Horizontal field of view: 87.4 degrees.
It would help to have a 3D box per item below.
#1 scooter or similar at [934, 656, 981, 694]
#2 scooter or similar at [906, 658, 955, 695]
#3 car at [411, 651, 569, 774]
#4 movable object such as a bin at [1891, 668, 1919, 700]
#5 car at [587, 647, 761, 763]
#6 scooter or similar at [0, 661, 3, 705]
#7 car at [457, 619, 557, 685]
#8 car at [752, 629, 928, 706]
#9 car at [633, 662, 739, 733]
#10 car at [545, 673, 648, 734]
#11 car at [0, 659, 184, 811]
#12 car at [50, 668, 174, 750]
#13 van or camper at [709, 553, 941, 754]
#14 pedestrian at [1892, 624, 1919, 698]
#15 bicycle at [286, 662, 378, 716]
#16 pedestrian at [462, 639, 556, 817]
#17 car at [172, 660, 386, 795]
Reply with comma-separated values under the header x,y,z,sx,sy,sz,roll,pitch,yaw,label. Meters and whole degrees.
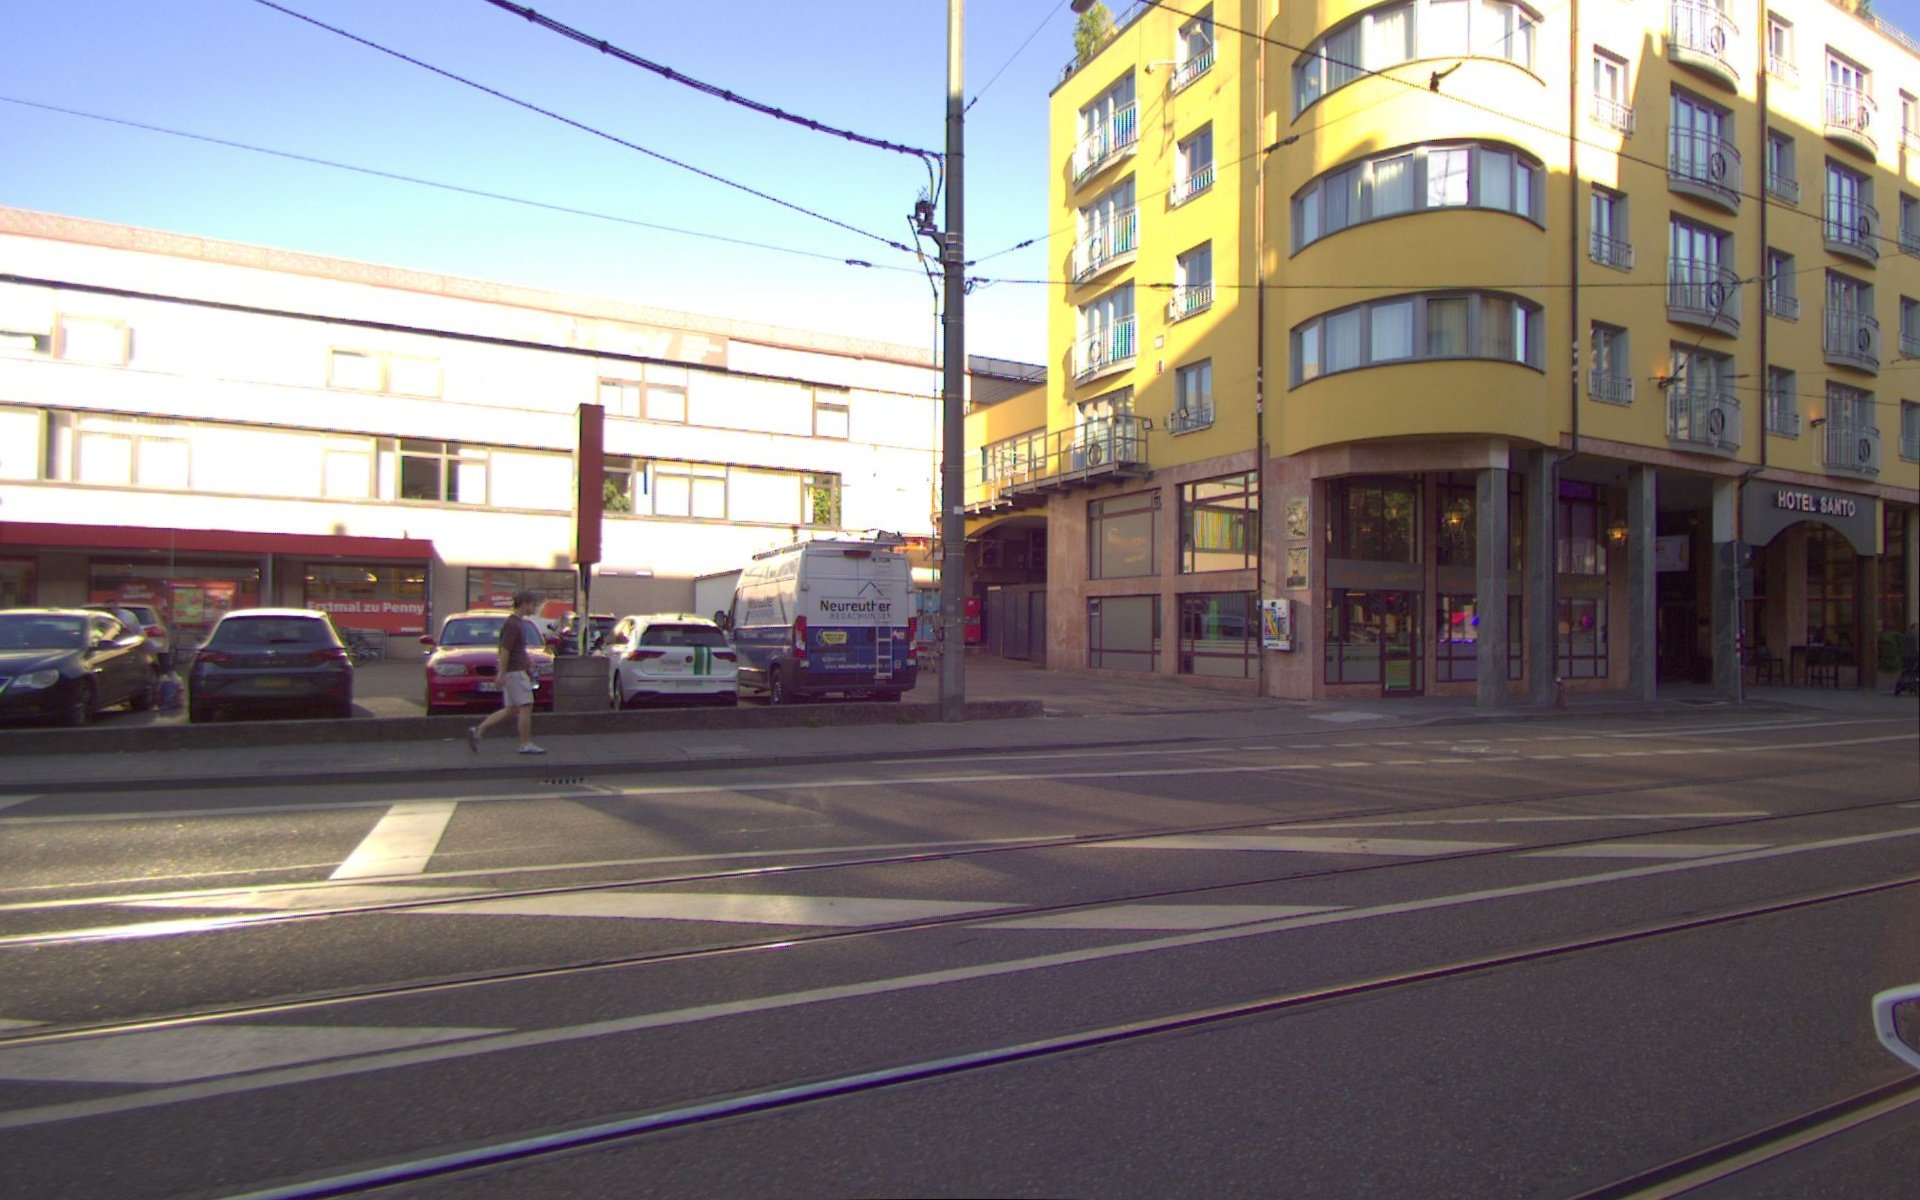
x,y,z,sx,sy,sz,roll,pitch,yaw,label
-0.080,2.093,28.135,0.799,0.997,1.264,0,-3,-29,scooter or similar
-0.819,2.098,27.697,0.838,0.967,1.281,0,-3,-29,scooter or similar
-7.157,1.586,15.271,1.855,1.494,4.574,-1,-3,-26,car
23.452,2.067,24.824,0.830,0.726,0.382,-1,2,-27,movable object such as a bin
-4.697,1.556,15.975,1.855,1.494,4.574,-1,-3,-26,car
-21.260,1.790,21.275,1.232,0.974,0.909,0,-2,-29,scooter or similar
-11.551,1.309,25.473,1.976,1.527,3.970,0,-3,-29,car
-3.100,1.710,26.031,4.070,1.758,1.986,0,-3,-29,car
-7.689,2.636,27.935,1.976,1.723,3.970,0,-3,-29,car
-9.754,2.684,26.772,1.976,1.372,3.970,0,-3,-29,car
-11.692,1.598,12.826,1.855,1.604,4.880,-1,-3,-26,car
-18.014,2.243,21.472,1.863,1.494,4.553,0,-3,-39,car
-2.569,0.898,17.329,2.284,2.864,5.589,-1,-3,-26,van or camper
24.118,1.536,25.227,0.740,1.795,0.794,-1,2,-27,pedestrian
-15.117,2.135,24.219,1.804,1.203,0.431,-1,-2,-21,bicycle
-5.055,1.387,11.241,0.898,1.856,0.830,-1,-2,-28,pedestrian
-9.344,1.632,14.162,1.855,1.494,4.574,-1,-3,-26,car
